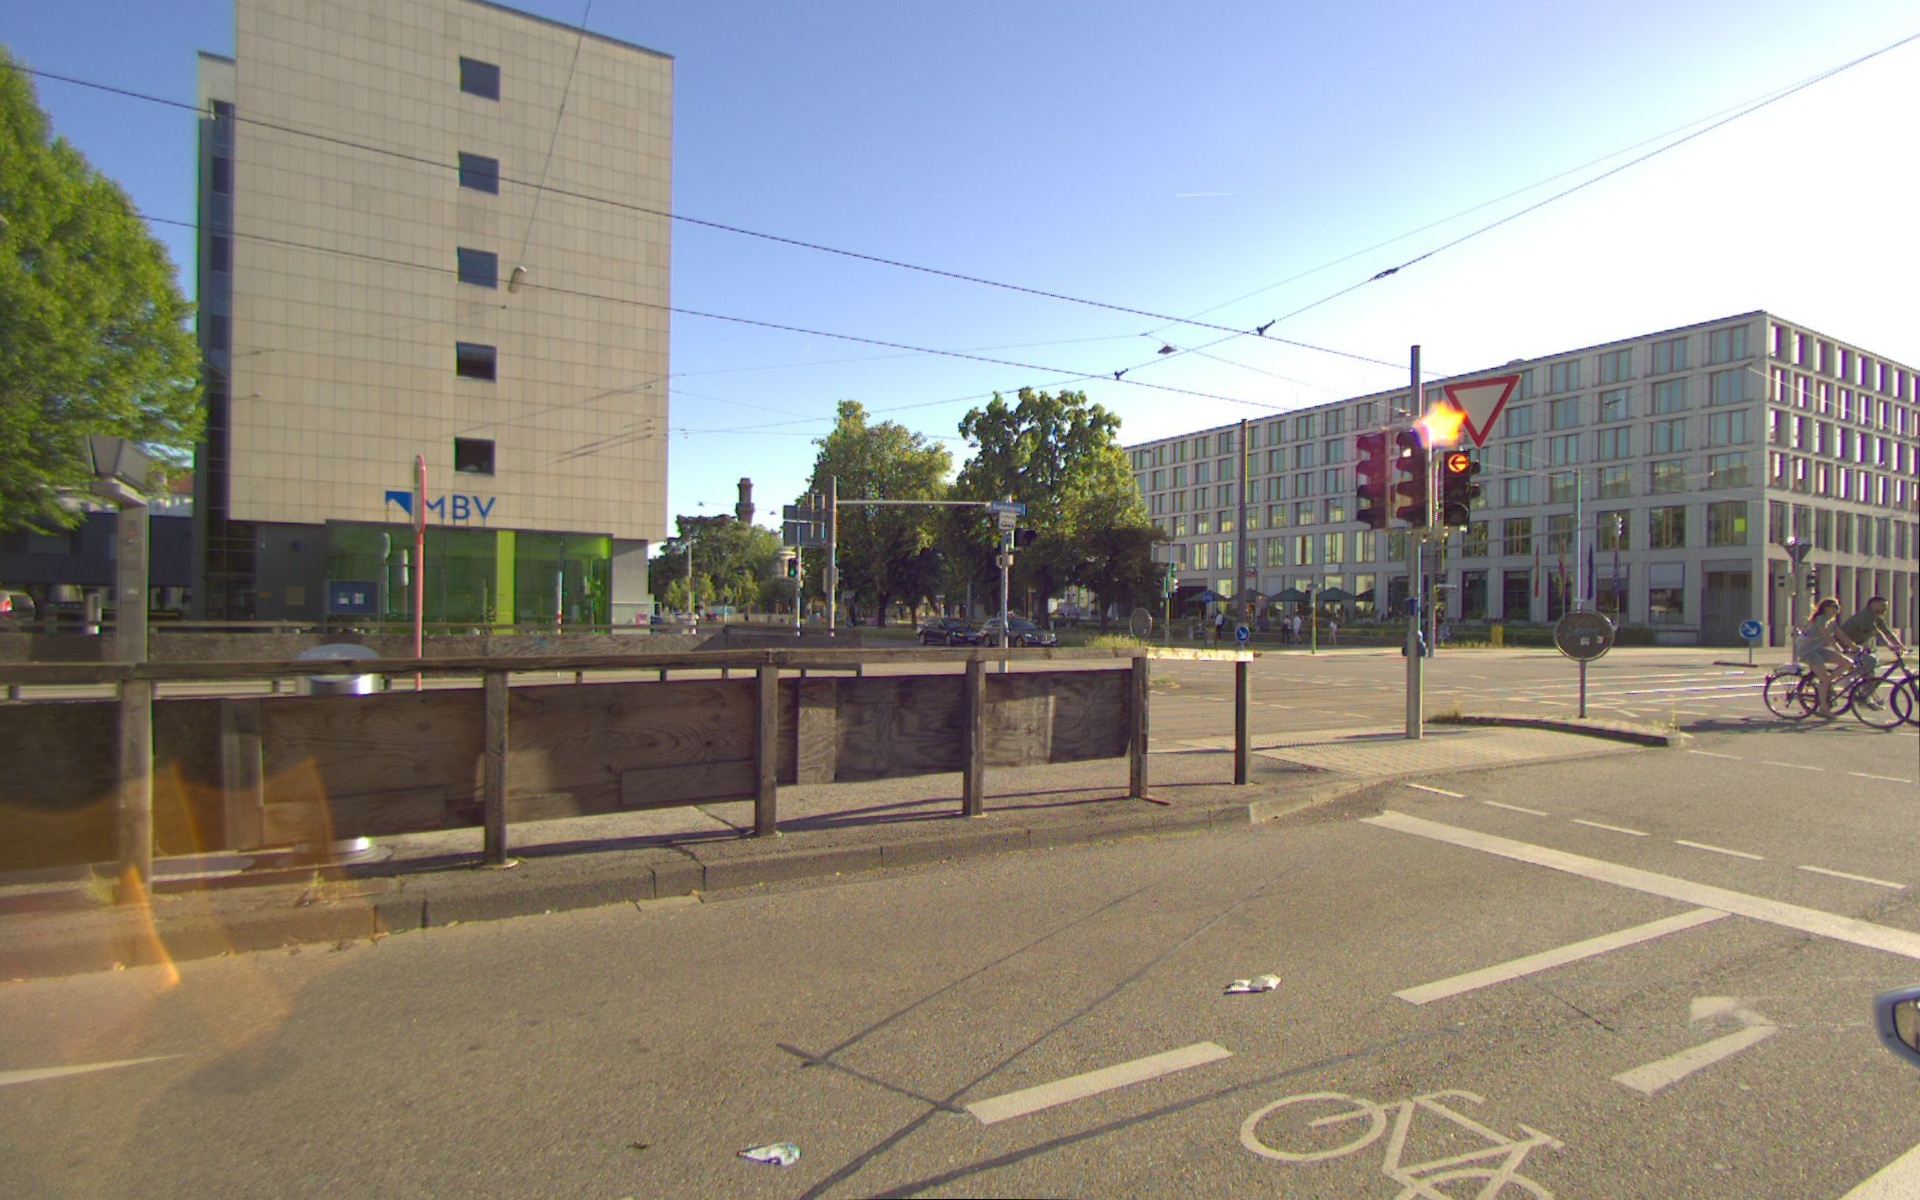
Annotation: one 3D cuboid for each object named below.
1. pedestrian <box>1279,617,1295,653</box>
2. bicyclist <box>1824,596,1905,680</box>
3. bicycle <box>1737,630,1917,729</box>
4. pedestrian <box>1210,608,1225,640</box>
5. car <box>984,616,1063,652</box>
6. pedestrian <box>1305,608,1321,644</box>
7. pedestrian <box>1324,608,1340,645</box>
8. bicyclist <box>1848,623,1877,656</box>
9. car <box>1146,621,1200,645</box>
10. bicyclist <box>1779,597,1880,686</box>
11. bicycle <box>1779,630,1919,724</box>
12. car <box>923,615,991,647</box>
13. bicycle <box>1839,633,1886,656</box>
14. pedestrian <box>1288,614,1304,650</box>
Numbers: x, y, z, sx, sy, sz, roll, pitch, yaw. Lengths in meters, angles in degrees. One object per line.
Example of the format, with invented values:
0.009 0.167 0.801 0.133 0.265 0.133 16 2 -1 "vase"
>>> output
18.497 1.969 56.789 0.793 2.040 0.526 1 -1 -36 "pedestrian"
13.628 0.564 15.138 0.788 1.235 0.717 1 -1 -31 "bicyclist"
12.510 1.106 14.551 0.783 1.308 1.840 1 -1 -33 "bicycle"
15.856 1.493 61.917 0.672 1.928 0.560 1 -1 -21 "pedestrian"
2.953 1.557 47.412 1.708 1.595 4.140 1 -1 -31 "car"
20.104 1.499 57.167 0.793 2.040 0.526 1 -1 -36 "pedestrian"
20.929 1.487 56.501 0.793 2.040 0.526 1 -1 -36 "pedestrian"
45.877 2.006 51.061 0.812 1.663 0.872 1 -1 -29 "bicyclist"
13.423 2.049 63.376 1.457 1.457 3.163 1 -1 -35 "car"
12.545 0.590 14.503 0.788 1.235 0.920 1 -1 -33 "bicyclist"
13.651 1.119 15.079 0.783 1.308 1.975 1 -1 -31 "bicycle"
-0.202 1.573 52.541 1.801 1.595 3.967 0 0 -31 "car"
45.871 2.241 51.067 2.976 1.136 0.871 1 -1 -29 "bicycle"
19.177 1.817 57.333 0.793 2.040 0.526 1 -1 -36 "pedestrian"
